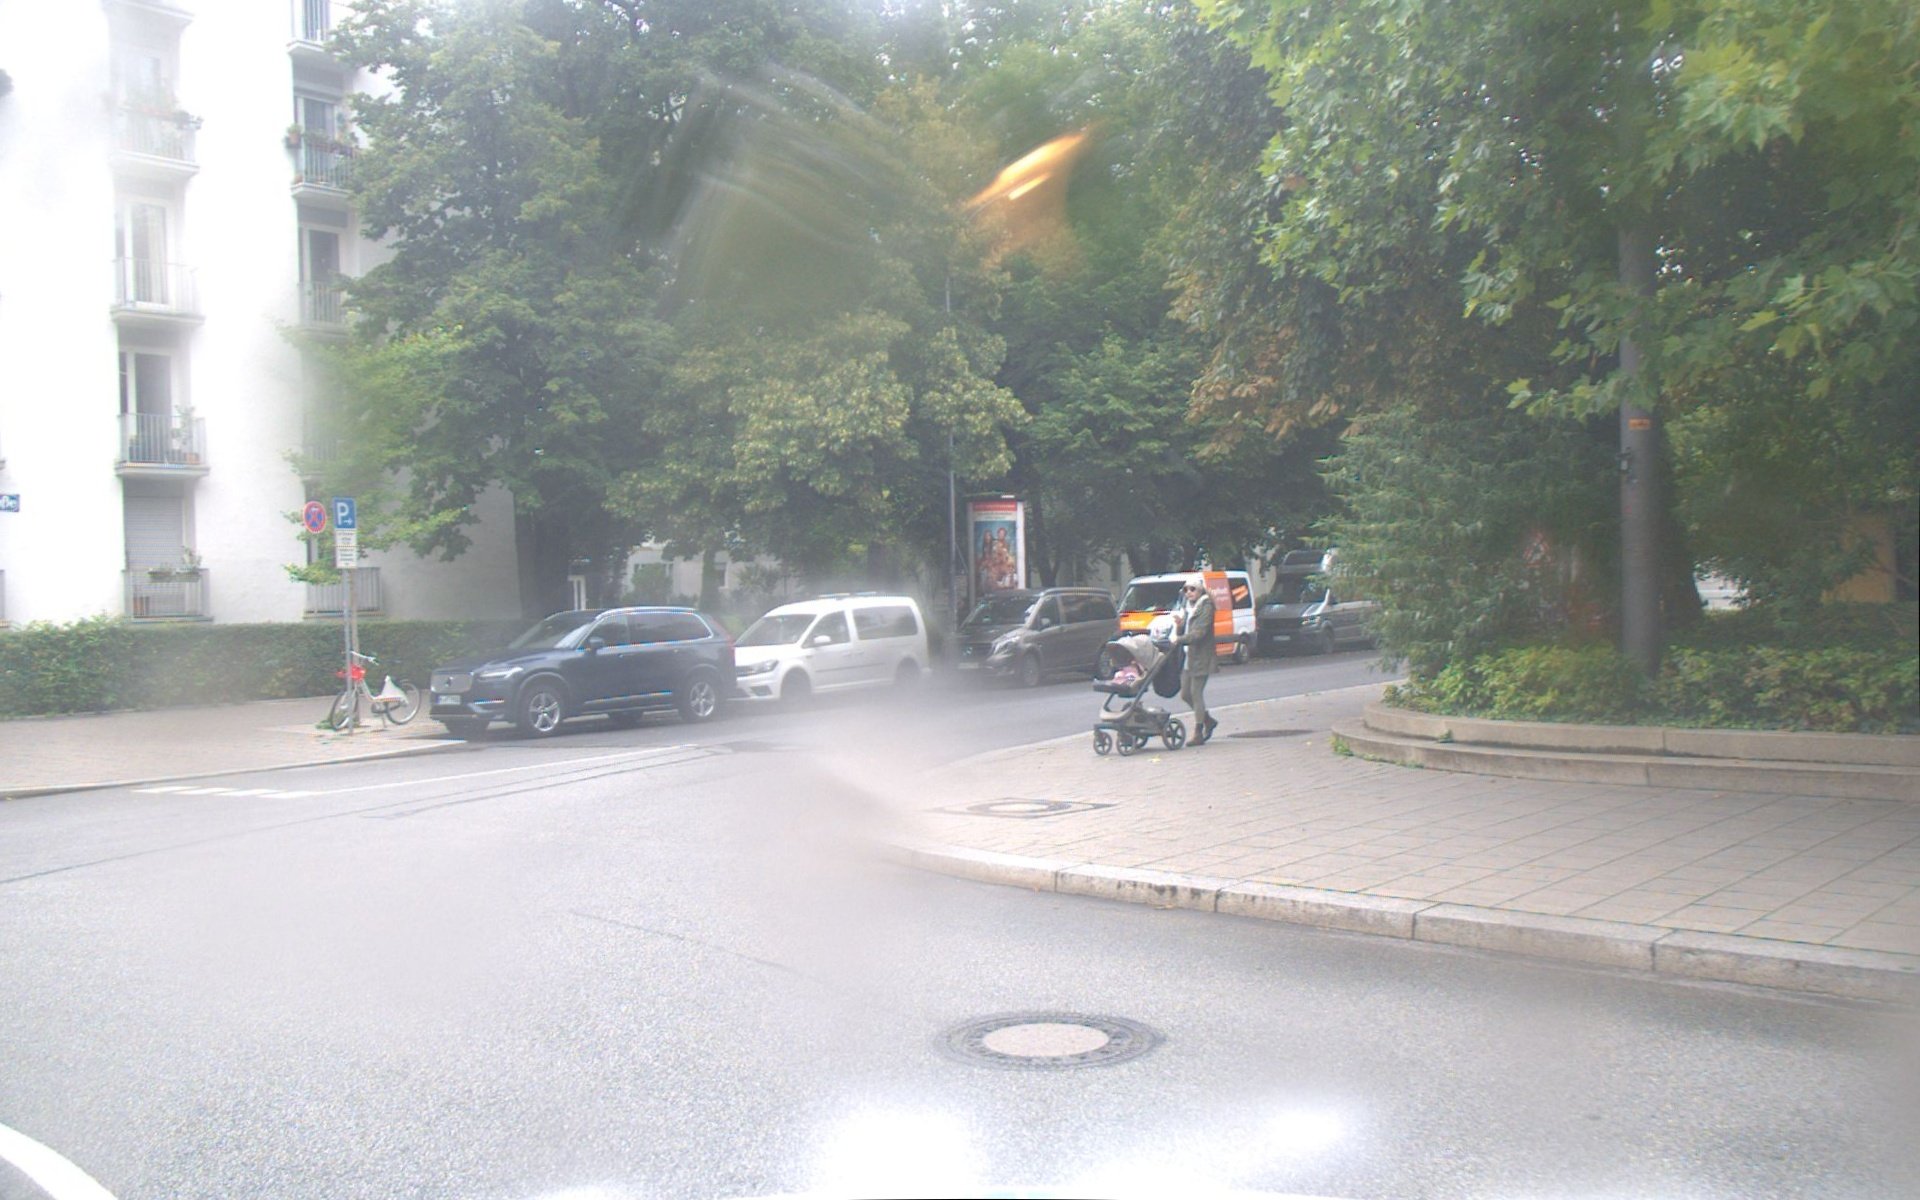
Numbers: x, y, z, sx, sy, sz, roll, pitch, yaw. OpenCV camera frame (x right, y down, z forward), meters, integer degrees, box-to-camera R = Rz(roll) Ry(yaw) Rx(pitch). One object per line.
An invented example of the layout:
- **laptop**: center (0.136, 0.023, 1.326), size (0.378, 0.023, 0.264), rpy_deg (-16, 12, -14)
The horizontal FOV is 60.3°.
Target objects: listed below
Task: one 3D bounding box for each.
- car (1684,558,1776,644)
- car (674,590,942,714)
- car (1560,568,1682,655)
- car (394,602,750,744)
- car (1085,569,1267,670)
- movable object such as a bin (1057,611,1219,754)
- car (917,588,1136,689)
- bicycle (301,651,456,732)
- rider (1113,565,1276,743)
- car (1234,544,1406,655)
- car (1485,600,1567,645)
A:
- **car**: center (24.804, 0.010, 53.153), size (2.004, 2.603, 5.235), rpy_deg (-2, 0, 32)
- **car**: center (-2.507, 0.826, 28.552), size (1.893, 1.928, 4.849), rpy_deg (-2, 0, 36)
- **car**: center (16.067, 0.258, 40.076), size (2.004, 1.956, 4.436), rpy_deg (-2, 0, 31)
- **car**: center (-5.510, 0.973, 24.103), size (2.031, 1.798, 4.887), rpy_deg (-2, 0, 37)
- **car**: center (5.314, 0.433, 40.030), size (2.076, 2.290, 5.174), rpy_deg (-2, 0, 37)
- **movable object such as a bin**: center (1.732, 0.799, 16.098), size (1.077, 1.289, 1.066), rpy_deg (-1, -3, -40)
- **car**: center (1.458, 0.740, 33.921), size (2.031, 1.891, 4.966), rpy_deg (-2, 0, 37)
- **bicycle**: center (-8.476, 1.312, 24.165), size (0.896, 1.070, 1.962), rpy_deg (-2, -1, 38)
- **rider**: center (2.361, 0.543, 16.665), size (1.129, 1.697, 1.070), rpy_deg (-1, -3, -40)
- **car**: center (10.451, -0.016, 47.528), size (2.296, 2.973, 6.552), rpy_deg (-2, 0, 37)
- **car**: center (21.794, 0.844, 63.590), size (1.864, 1.599, 4.059), rpy_deg (-2, 0, 36)
